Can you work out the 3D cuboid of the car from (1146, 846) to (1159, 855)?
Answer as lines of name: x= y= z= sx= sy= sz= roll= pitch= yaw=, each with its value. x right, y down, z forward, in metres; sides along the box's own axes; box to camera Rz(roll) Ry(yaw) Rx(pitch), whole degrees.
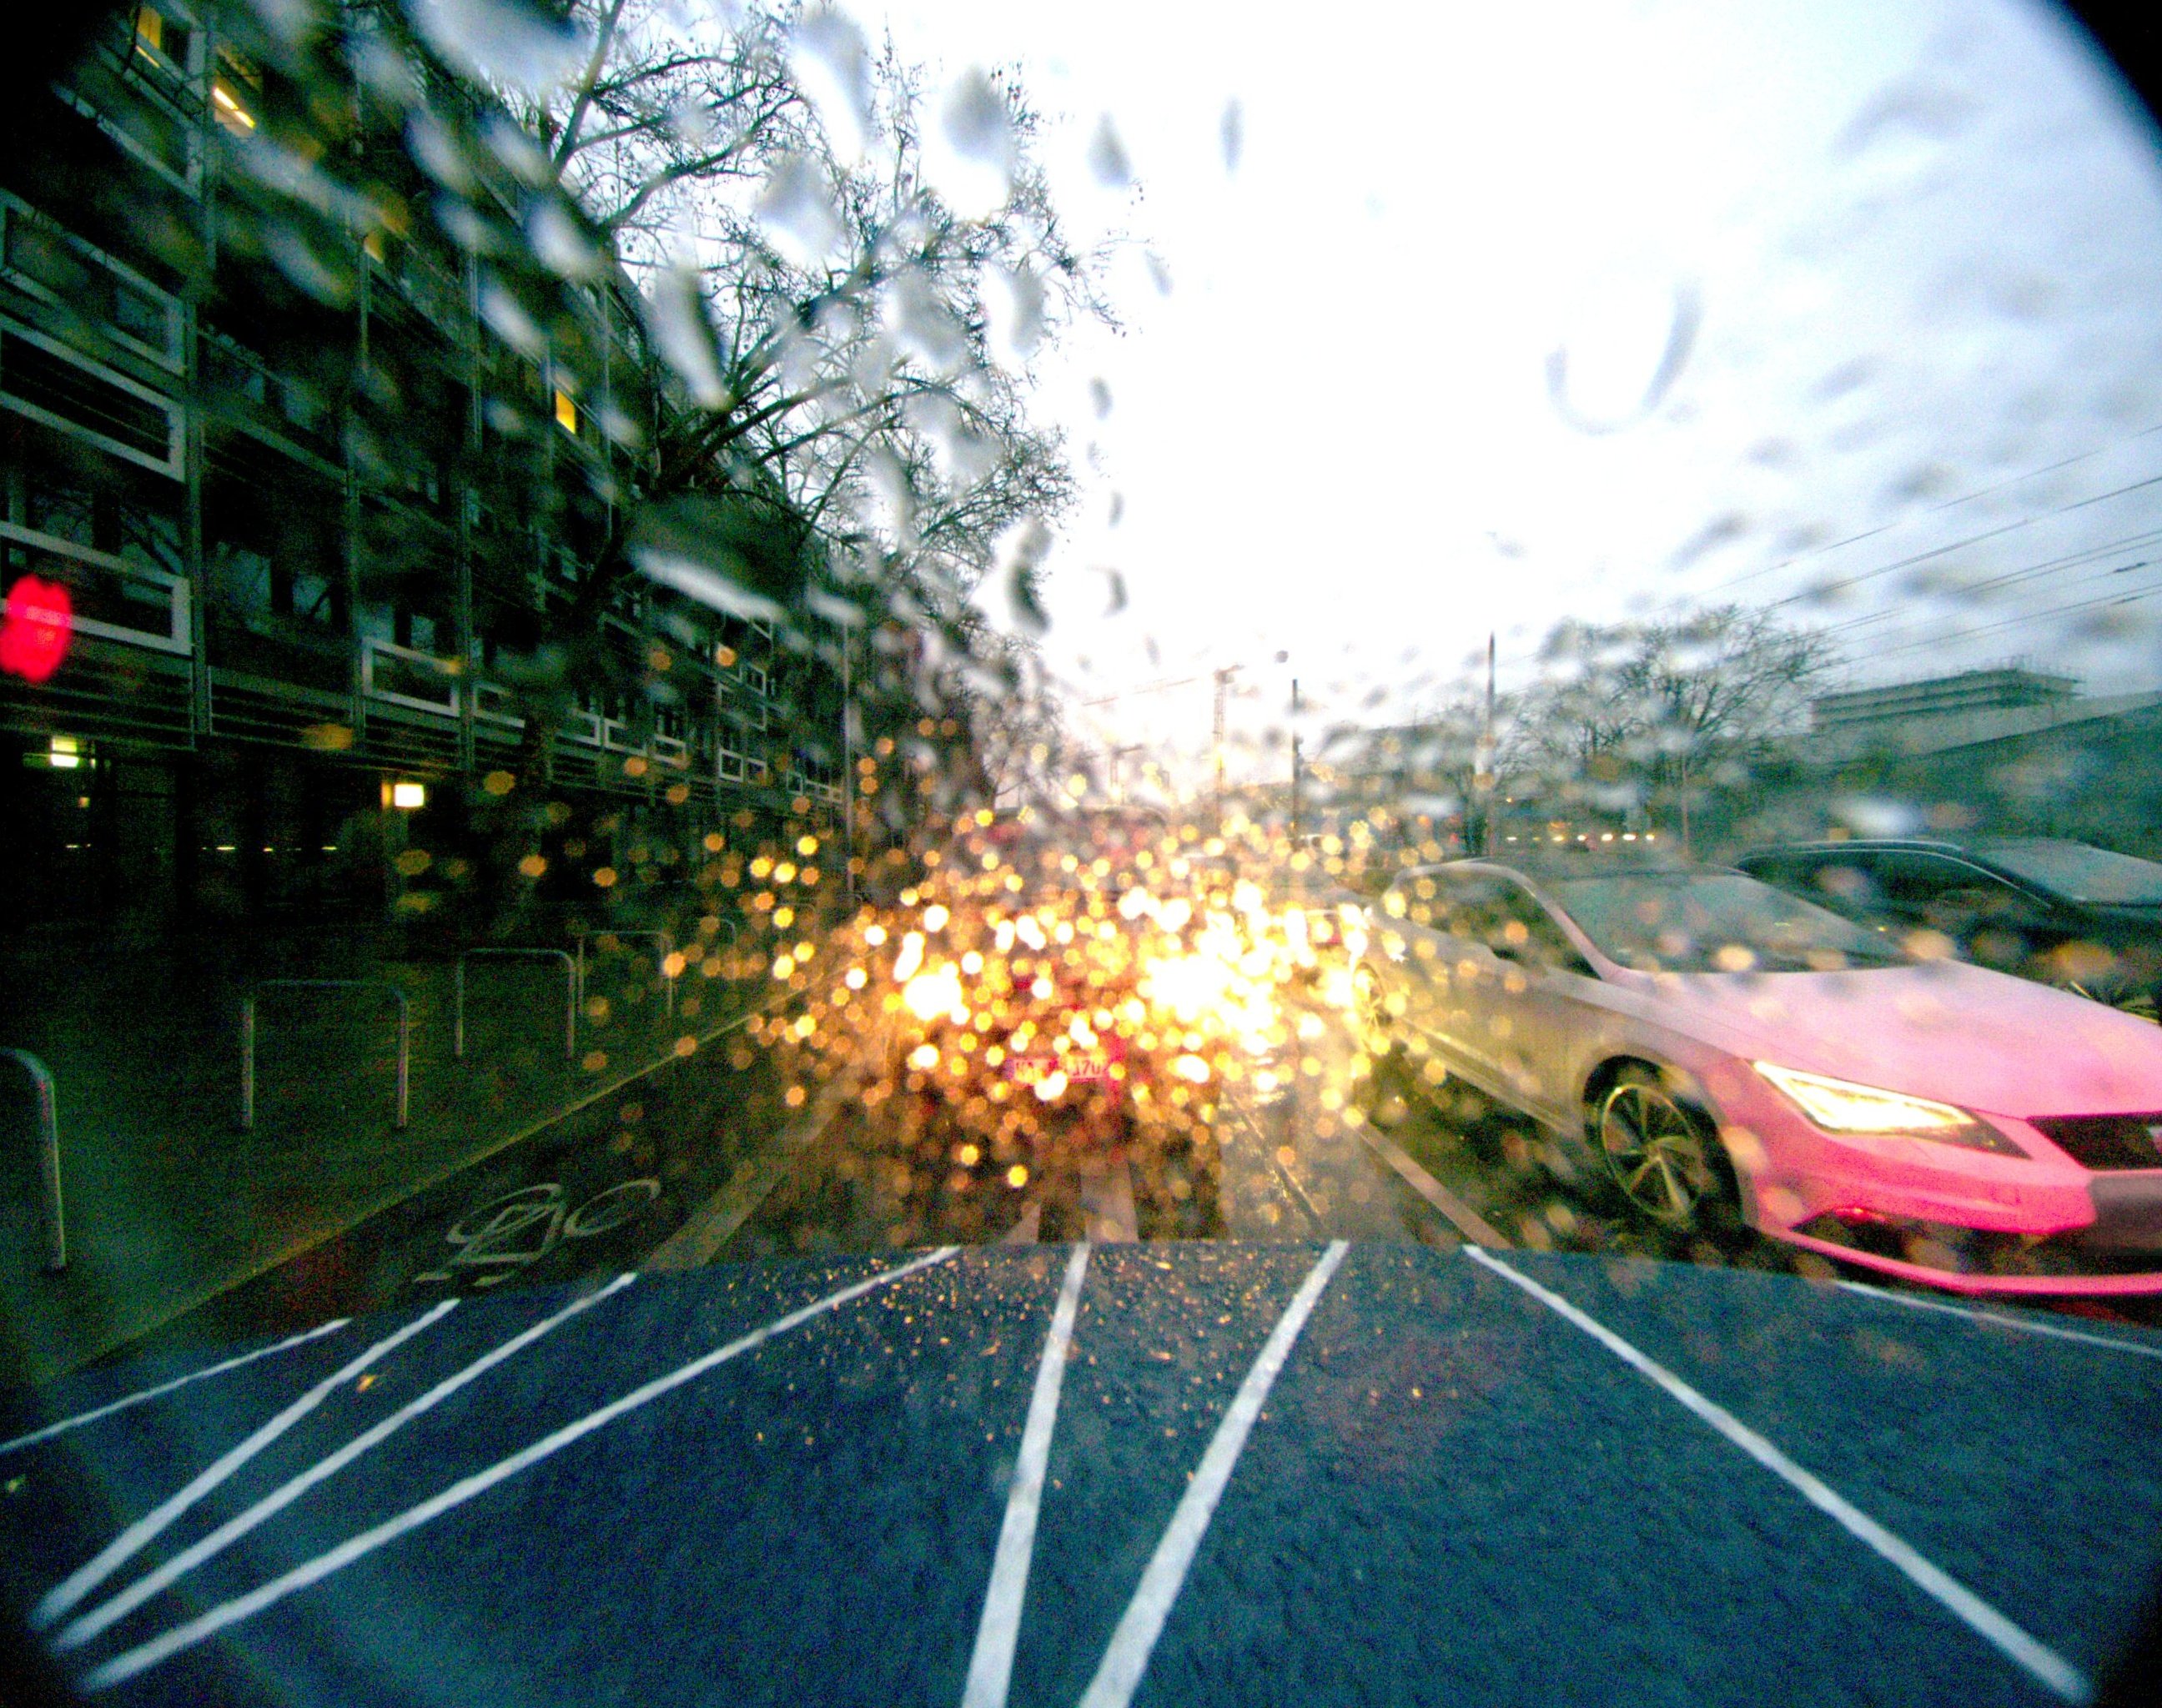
car: x=15.160 y=-0.809 z=161.448 sx=2.095 sy=1.884 sz=3.997 roll=-1 pitch=1 yaw=-7

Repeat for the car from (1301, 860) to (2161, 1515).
car: x=2.983 y=0.839 z=4.171 sx=1.949 sy=1.478 sz=4.504 roll=-2 pitch=0 yaw=-4

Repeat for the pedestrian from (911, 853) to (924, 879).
pedestrian: x=-11.346 y=0.840 z=52.802 sx=0.766 sy=1.740 sz=0.928 roll=0 pitch=1 yaw=-4

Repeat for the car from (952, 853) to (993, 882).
car: x=-6.152 y=0.746 z=43.417 sx=1.713 sy=1.455 sz=3.999 roll=-2 pitch=1 yaw=1

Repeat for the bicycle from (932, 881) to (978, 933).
bicycle: x=-2.894 y=1.193 z=17.562 sx=0.710 sy=1.088 sz=1.784 roll=-1 pitch=0 yaw=1

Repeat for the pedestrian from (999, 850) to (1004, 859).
pedestrian: x=-14.300 y=0.107 z=137.111 sx=0.766 sy=1.740 sz=0.928 roll=0 pitch=1 yaw=-4

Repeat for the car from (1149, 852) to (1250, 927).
car: x=2.838 y=0.795 z=19.091 sx=1.907 sy=1.565 sz=3.999 roll=-2 pitch=1 yaw=1

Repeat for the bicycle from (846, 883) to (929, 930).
bicycle: x=-4.476 y=1.206 z=17.664 sx=1.704 sy=0.987 sz=0.879 roll=1 pitch=1 yaw=0

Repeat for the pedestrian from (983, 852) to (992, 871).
pedestrian: x=-8.474 y=0.654 z=68.887 sx=0.766 sy=1.740 sz=0.928 roll=0 pitch=1 yaw=-4

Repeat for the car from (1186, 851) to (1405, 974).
car: x=2.945 y=0.700 z=11.568 sx=1.999 sy=1.478 sz=4.504 roll=-1 pitch=0 yaw=-1

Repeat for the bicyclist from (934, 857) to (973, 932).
bicyclist: x=-2.915 y=0.910 z=17.450 sx=0.704 sy=1.650 sz=0.964 roll=-1 pitch=0 yaw=1

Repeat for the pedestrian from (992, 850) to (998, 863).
pedestrian: x=-11.649 y=0.389 z=103.364 sx=0.766 sy=1.740 sz=0.928 roll=0 pitch=1 yaw=-4

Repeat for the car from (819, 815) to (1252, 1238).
car: x=-0.223 y=0.755 z=5.417 sx=1.878 sy=1.830 sz=3.999 roll=-2 pitch=1 yaw=-1

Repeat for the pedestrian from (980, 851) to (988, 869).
pedestrian: x=-9.767 y=0.596 z=76.326 sx=0.766 sy=1.740 sz=0.928 roll=0 pitch=1 yaw=-4

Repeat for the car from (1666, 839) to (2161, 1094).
car: x=7.355 y=0.650 z=5.987 sx=1.853 sy=1.499 sz=4.662 roll=-1 pitch=1 yaw=-1
